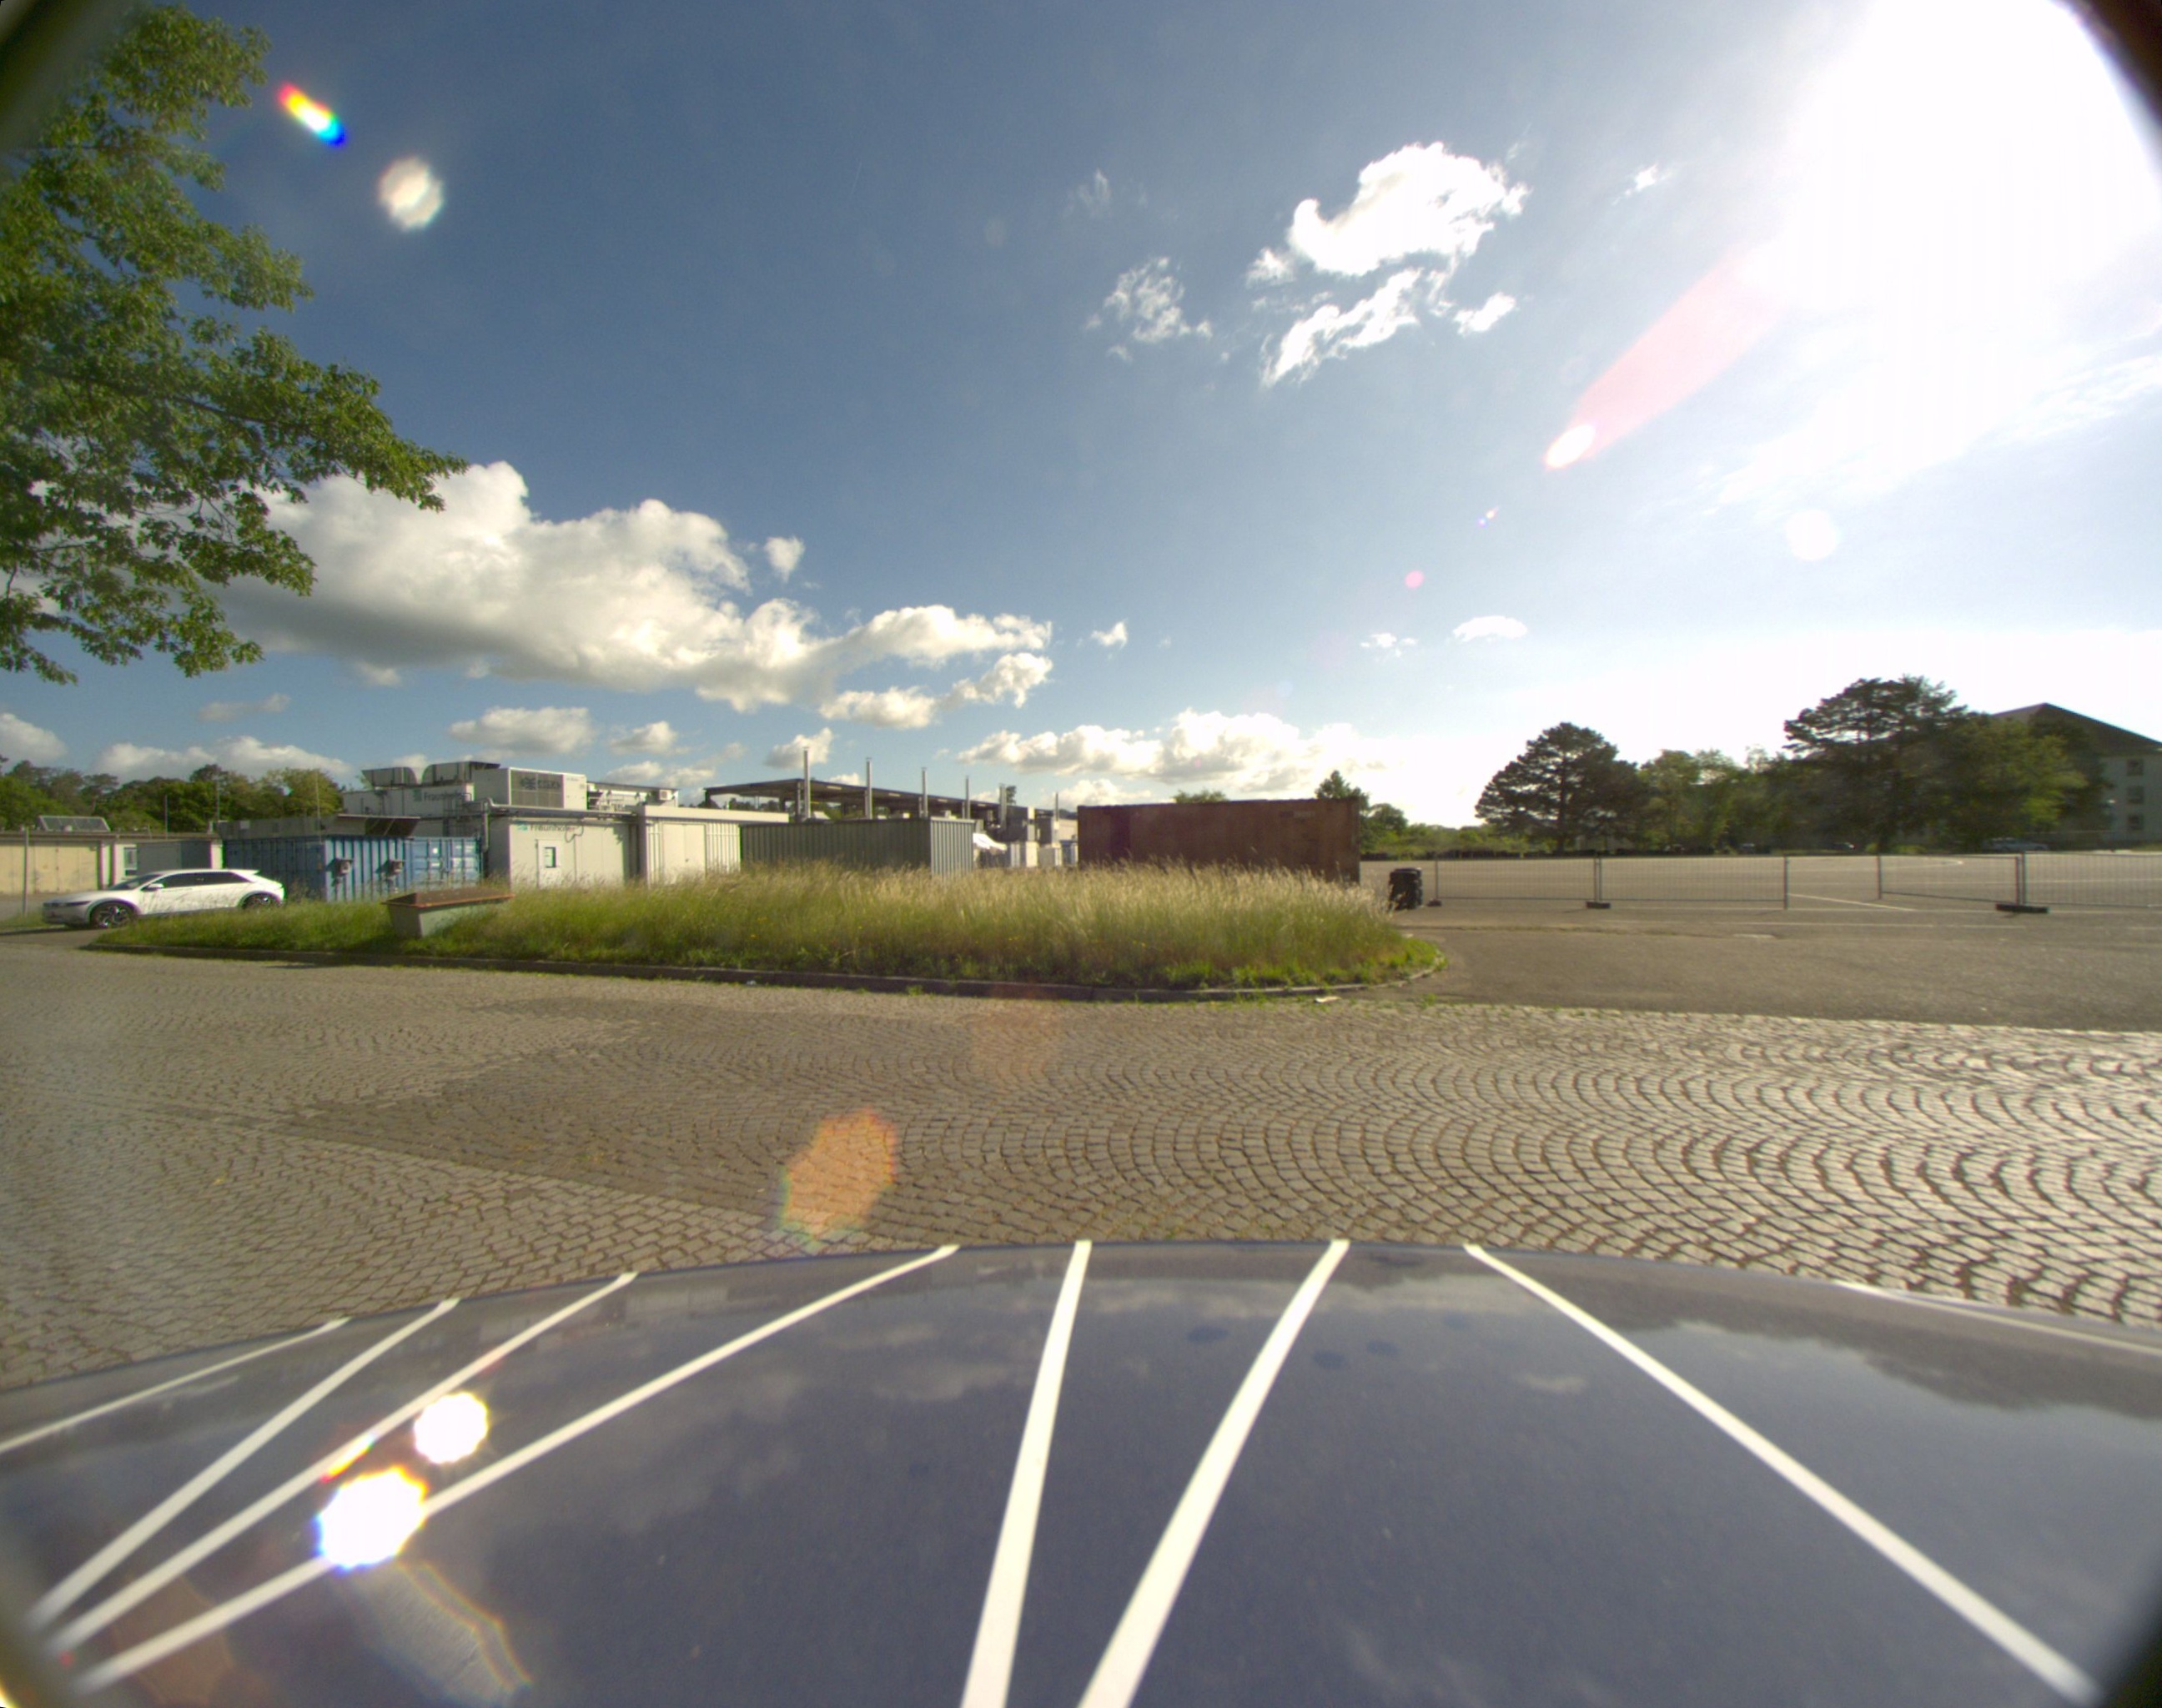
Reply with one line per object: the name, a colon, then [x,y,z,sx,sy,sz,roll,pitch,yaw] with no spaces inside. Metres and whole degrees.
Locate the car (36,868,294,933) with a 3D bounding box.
car: [-27.161,1.318,22.798,1.820,1.584,4.526,-2,1,19]
